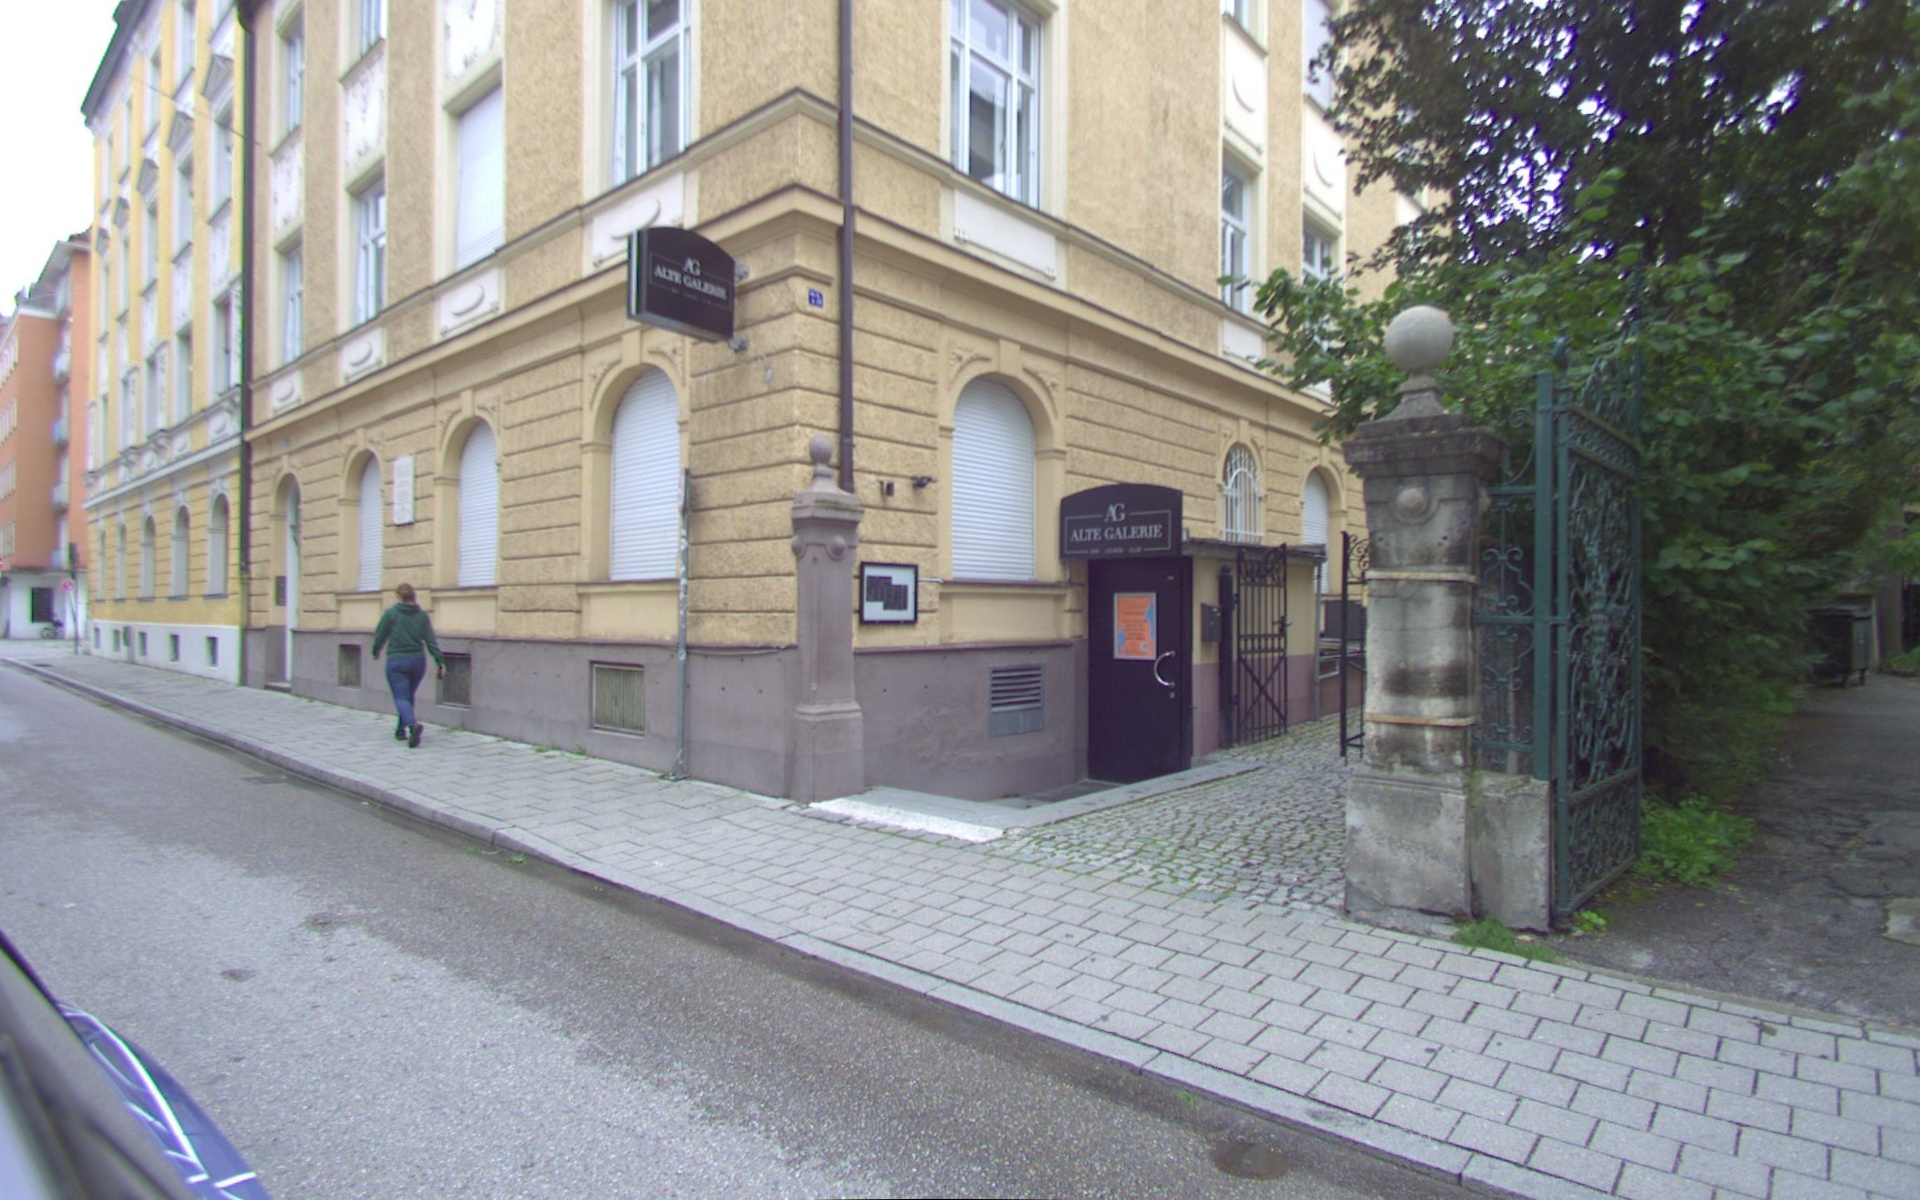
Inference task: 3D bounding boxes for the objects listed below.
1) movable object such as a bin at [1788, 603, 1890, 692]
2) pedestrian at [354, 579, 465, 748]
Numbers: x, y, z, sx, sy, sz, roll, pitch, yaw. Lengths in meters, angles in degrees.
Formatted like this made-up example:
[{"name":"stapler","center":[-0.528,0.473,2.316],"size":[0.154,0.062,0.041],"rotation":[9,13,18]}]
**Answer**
[{"name":"movable object such as a bin","center":[14.621,0.768,16.830],"size":[1.208,1.414,1.109],"rotation":[1,-1,-41]},{"name":"pedestrian","center":[-5.824,0.636,10.701],"size":[0.929,1.678,0.705],"rotation":[-1,1,42]}]
